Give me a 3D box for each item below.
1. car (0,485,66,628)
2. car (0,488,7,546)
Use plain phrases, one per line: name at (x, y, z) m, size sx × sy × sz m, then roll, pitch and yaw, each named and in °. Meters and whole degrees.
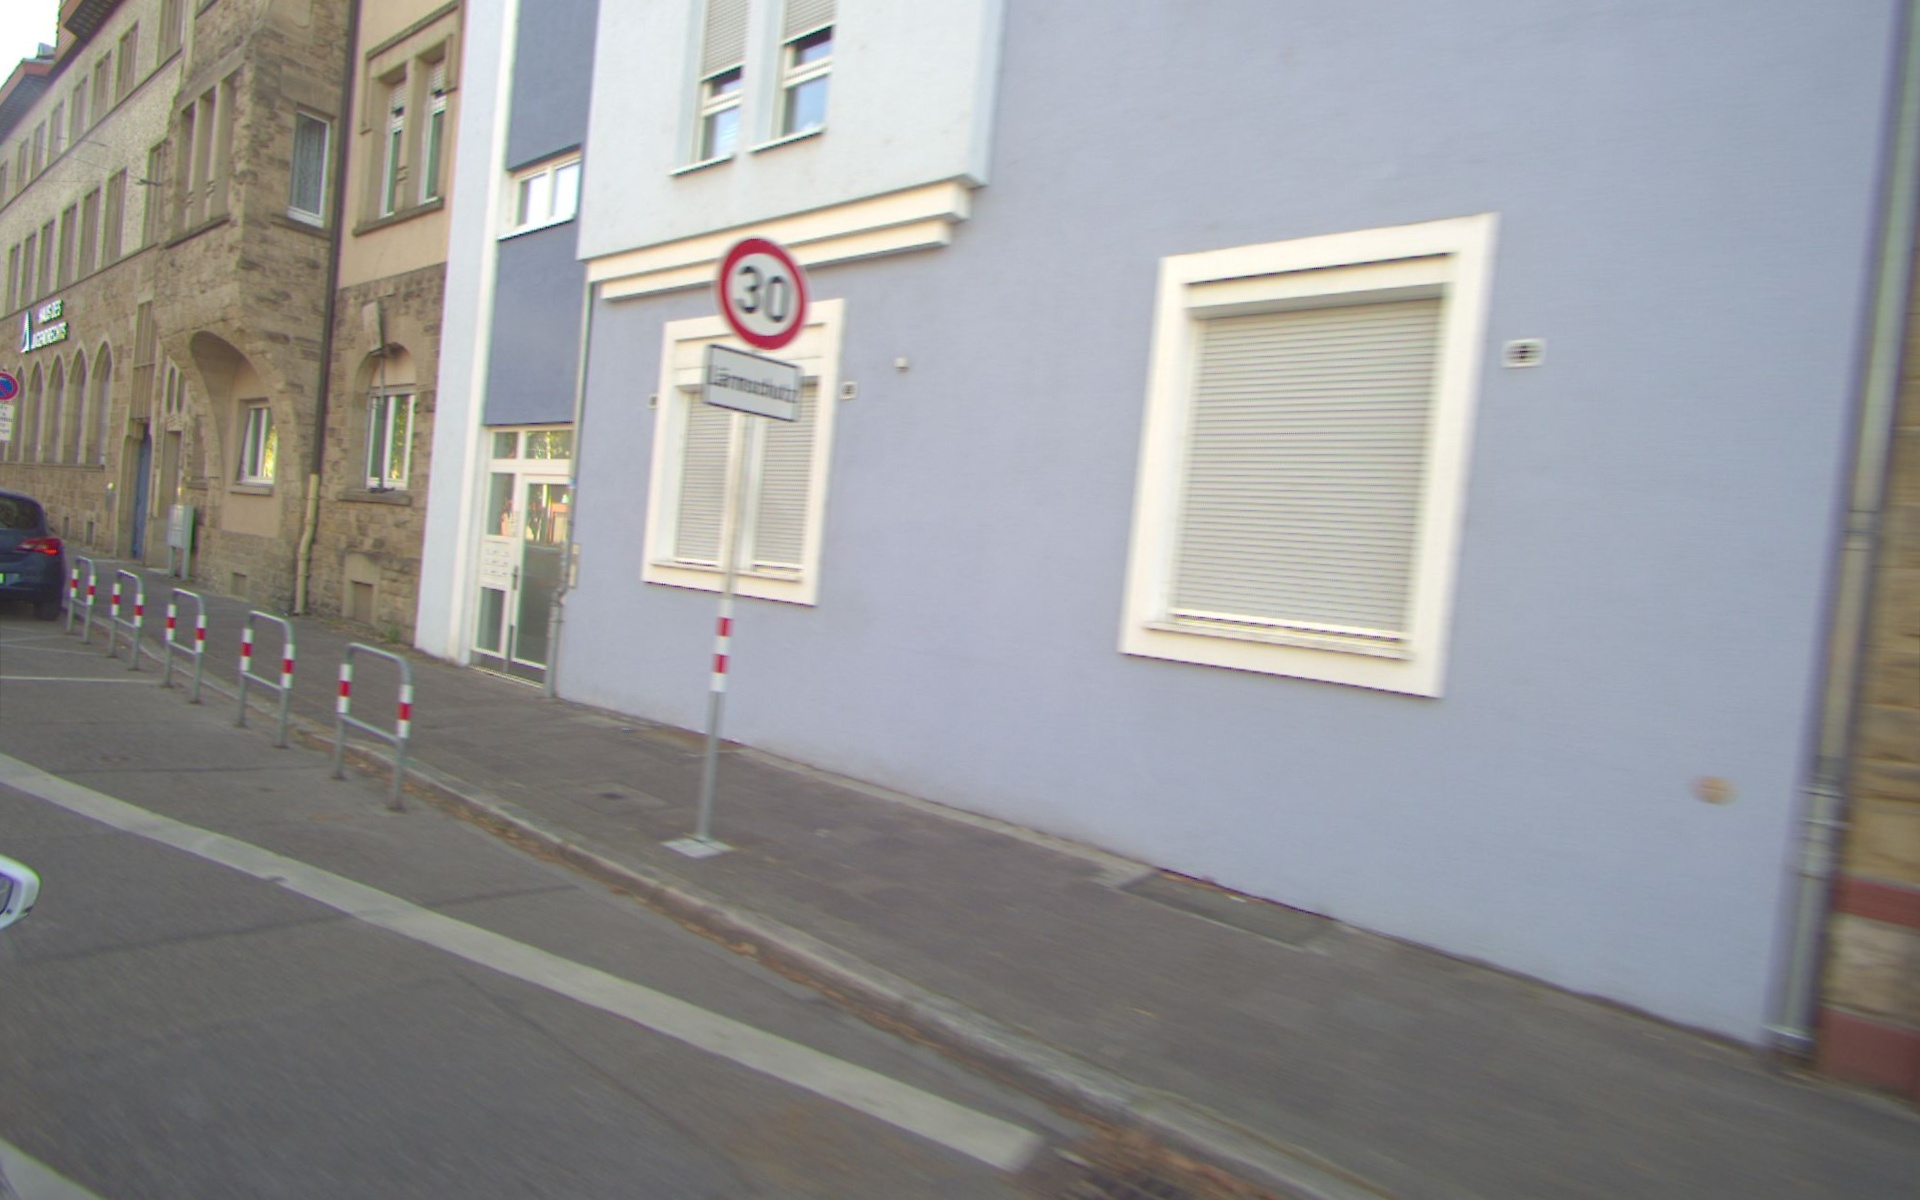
car at (-12.014, -0.687, 11.720) m, size 3.941 × 1.500 × 1.654 m, roll 7°, pitch 0°, yaw 39°
car at (-16.096, -1.137, 15.329) m, size 4.136 × 1.518 × 1.752 m, roll 7°, pitch -1°, yaw 40°
